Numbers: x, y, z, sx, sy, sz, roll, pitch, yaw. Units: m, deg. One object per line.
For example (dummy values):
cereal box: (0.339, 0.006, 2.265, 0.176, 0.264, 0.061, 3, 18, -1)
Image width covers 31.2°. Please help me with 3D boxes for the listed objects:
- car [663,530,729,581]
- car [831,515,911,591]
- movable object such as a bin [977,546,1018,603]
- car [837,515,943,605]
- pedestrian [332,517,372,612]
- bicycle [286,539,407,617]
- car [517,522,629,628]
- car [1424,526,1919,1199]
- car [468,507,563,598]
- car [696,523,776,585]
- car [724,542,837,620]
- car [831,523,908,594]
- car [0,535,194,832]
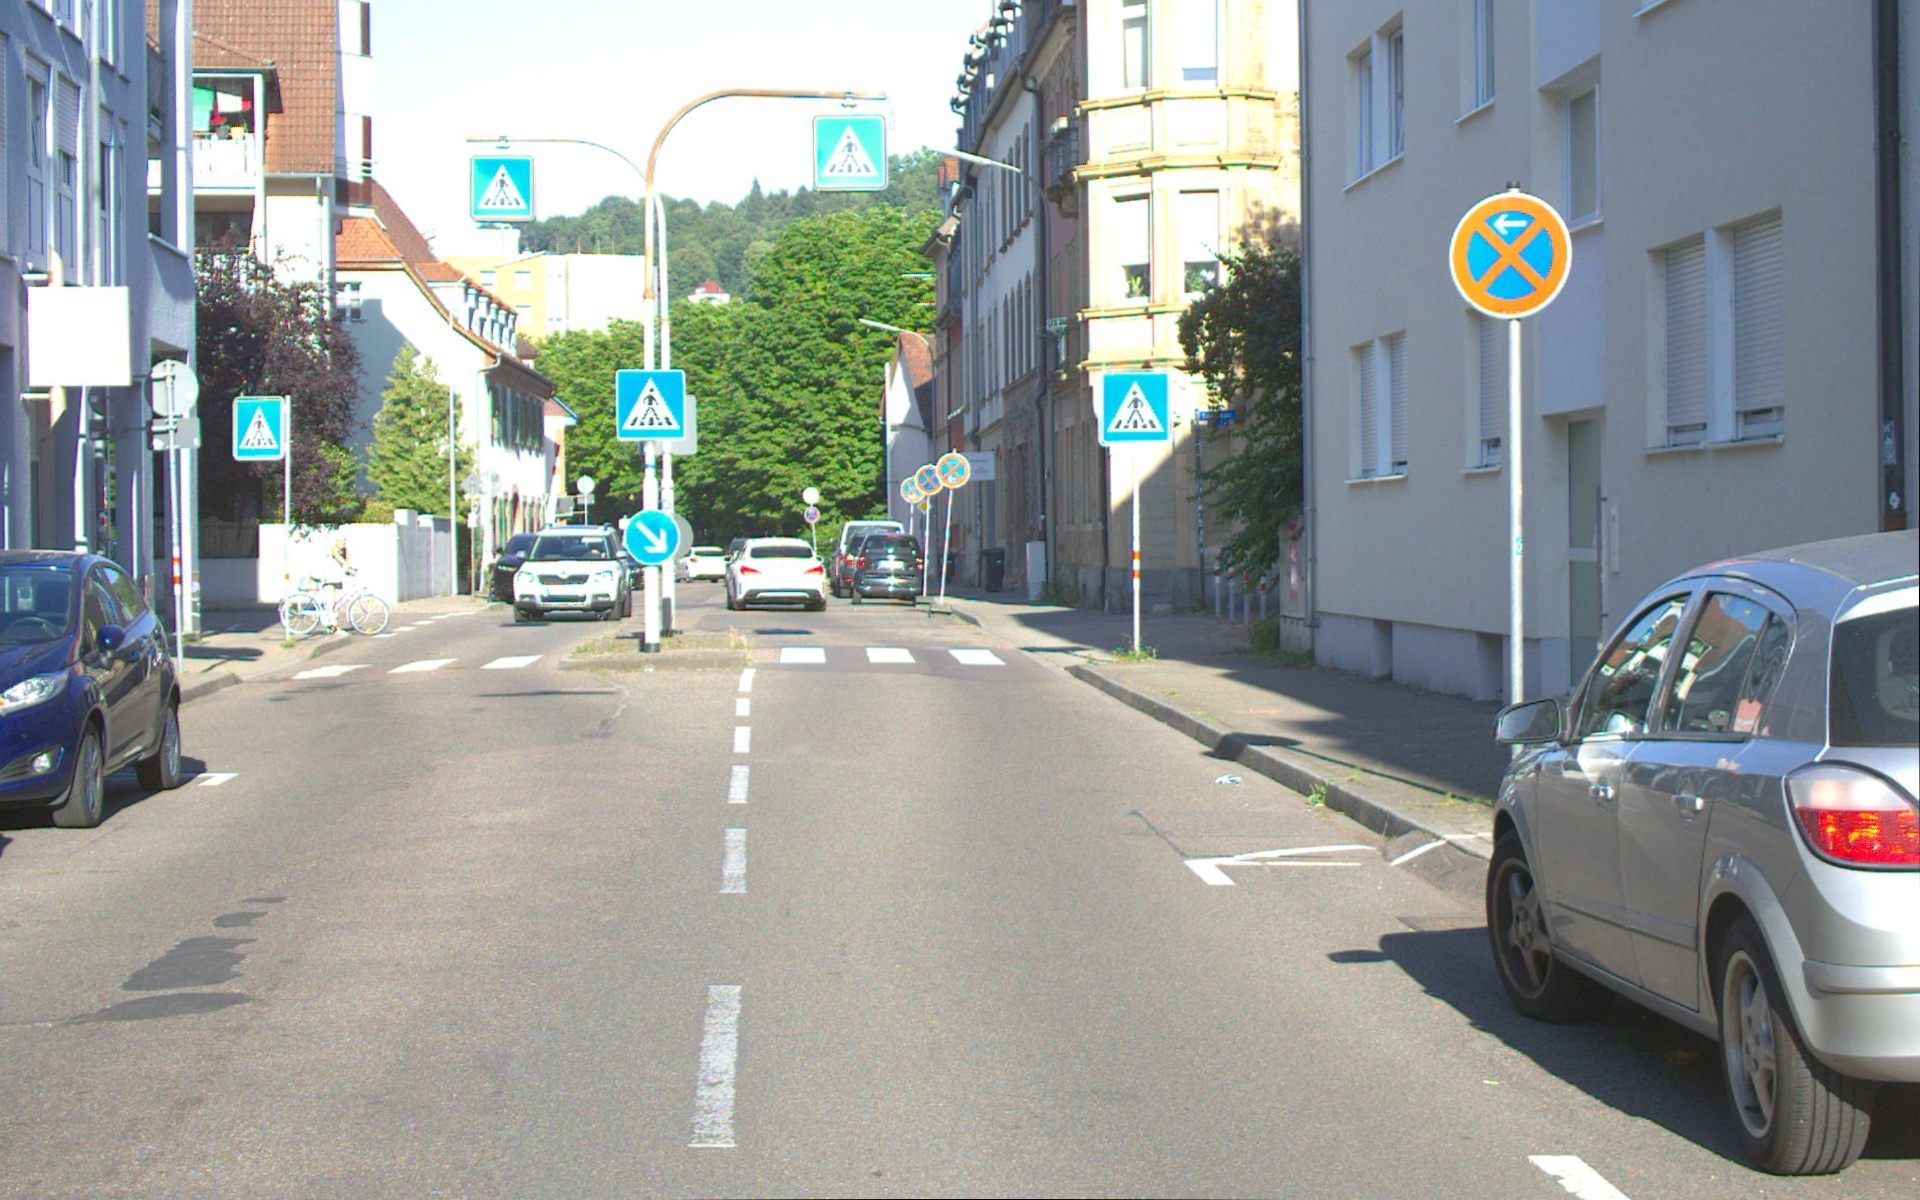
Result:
car: (-10.590, -1.795, 137.695, 1.993, 2.007, 4.001, -1, 1, -14)
car: (-2.369, -1.256, 90.442, 1.841, 1.899, 4.001, -2, 2, -4)
movable object such as a bin: (0.928, -0.636, 85.141, 0.871, 1.373, 0.685, -2, 2, -7)
car: (-1.539, -0.887, 74.179, 2.010, 1.846, 4.001, 1, 2, -5)
pedestrian: (-9.545, -0.557, 53.990, 0.556, 1.467, 0.601, -1, 1, -7)
bicycle: (-9.558, -0.347, 53.602, 1.786, 1.180, 0.599, -1, 1, -3)
car: (-6.793, -0.469, 60.032, 1.807, 1.695, 4.193, -3, 2, -7)
car: (2.587, 0.568, 9.545, 1.741, 1.487, 4.439, -2, 1, -3)
car: (-10.084, -1.103, 78.220, 1.993, 2.007, 4.001, 0, 1, -5)
car: (-7.472, -1.544, 114.245, 1.993, 2.007, 4.001, -1, 1, -13)
car: (-3.534, -0.399, 67.113, 1.993, 1.461, 4.001, -1, 1, -6)
car: (-2.241, -1.056, 85.530, 1.818, 1.625, 4.001, -2, 2, -1)
car: (-5.472, 0.418, 19.323, 1.730, 1.494, 3.960, -1, 1, -5)
